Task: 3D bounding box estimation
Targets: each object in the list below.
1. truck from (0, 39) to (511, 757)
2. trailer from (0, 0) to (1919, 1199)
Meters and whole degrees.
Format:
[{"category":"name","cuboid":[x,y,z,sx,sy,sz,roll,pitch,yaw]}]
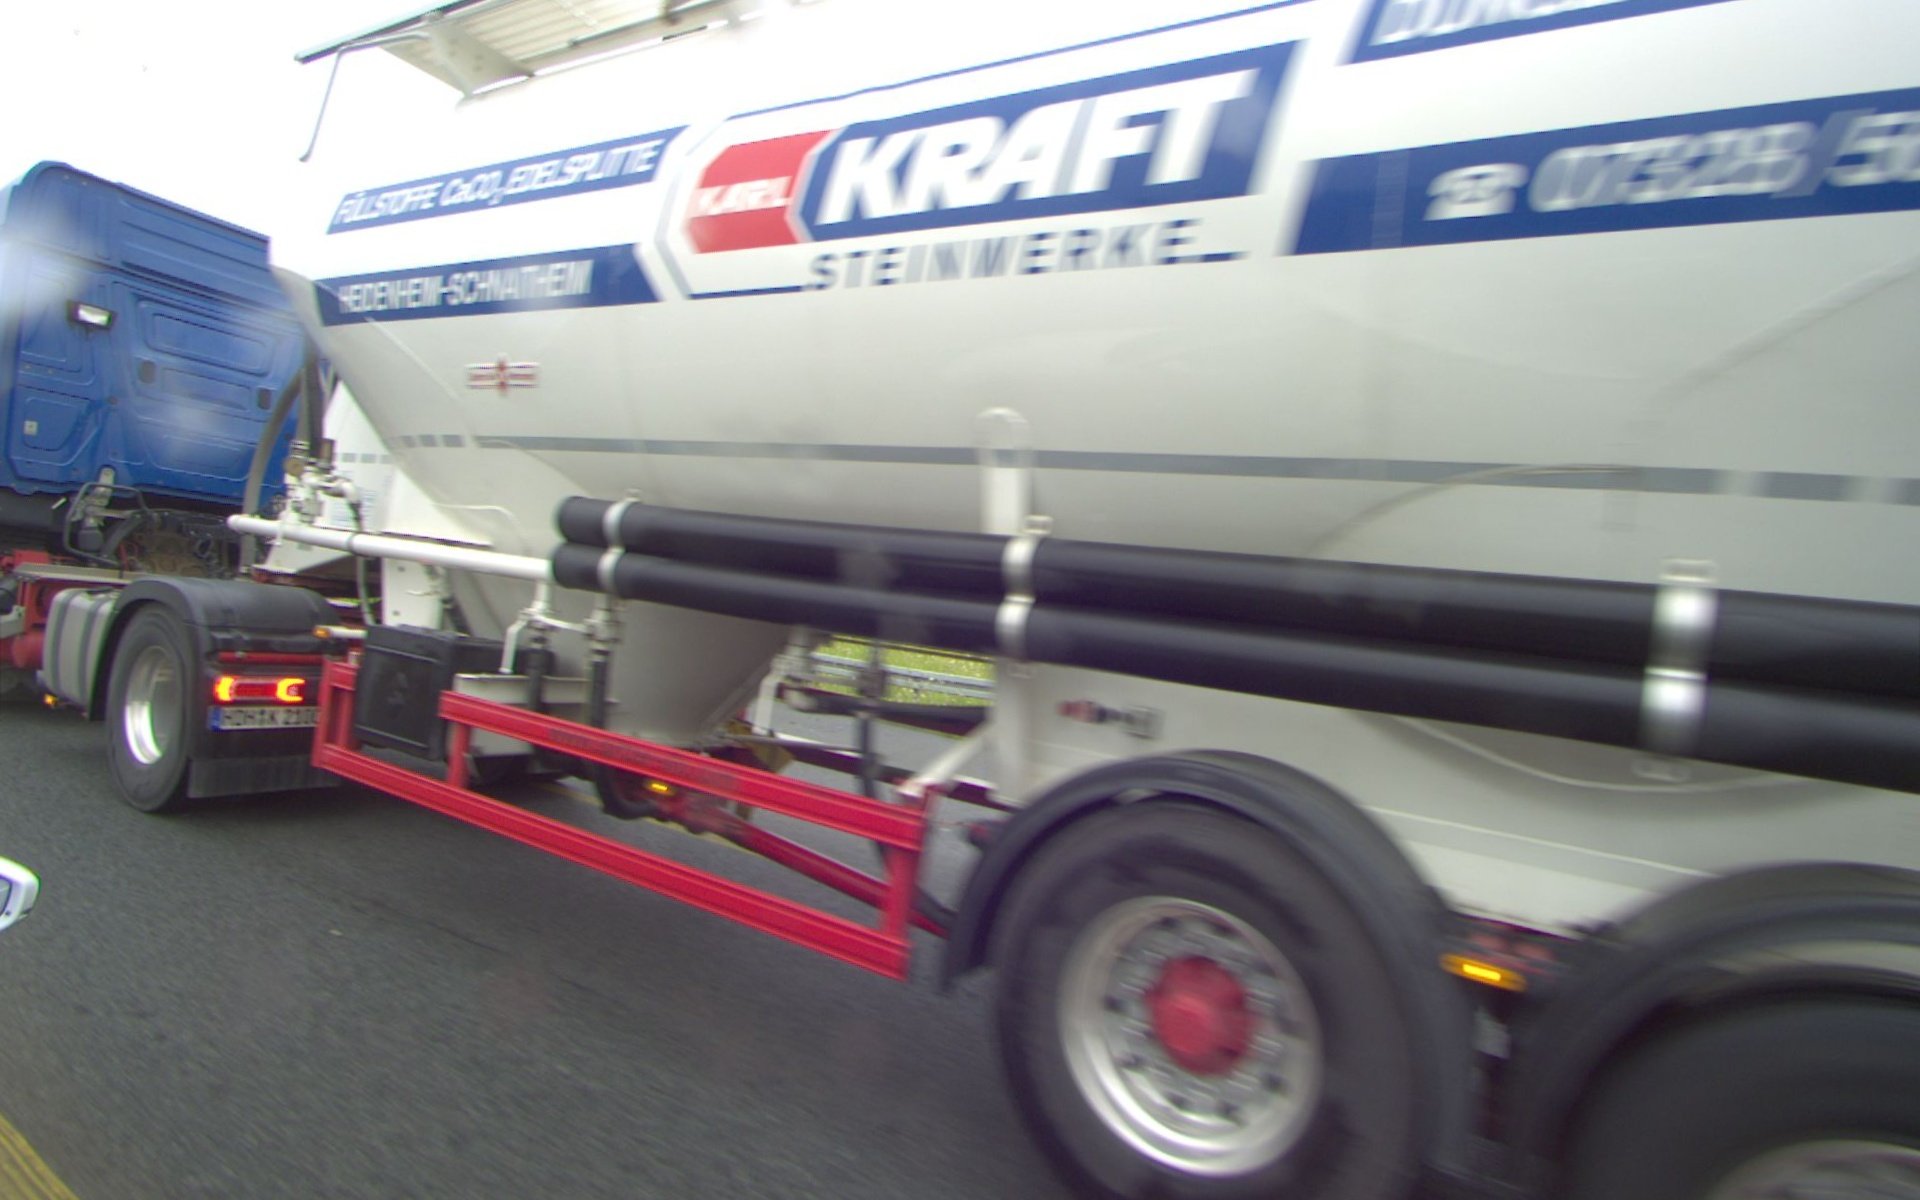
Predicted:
[{"category":"truck","cuboid":[-5.994,-1.165,7.689,3.935,3.993,2.551,6,-1,32]},{"category":"trailer","cuboid":[-0.532,-0.761,4.292,12.147,3.878,2.524,6,-1,32]}]
